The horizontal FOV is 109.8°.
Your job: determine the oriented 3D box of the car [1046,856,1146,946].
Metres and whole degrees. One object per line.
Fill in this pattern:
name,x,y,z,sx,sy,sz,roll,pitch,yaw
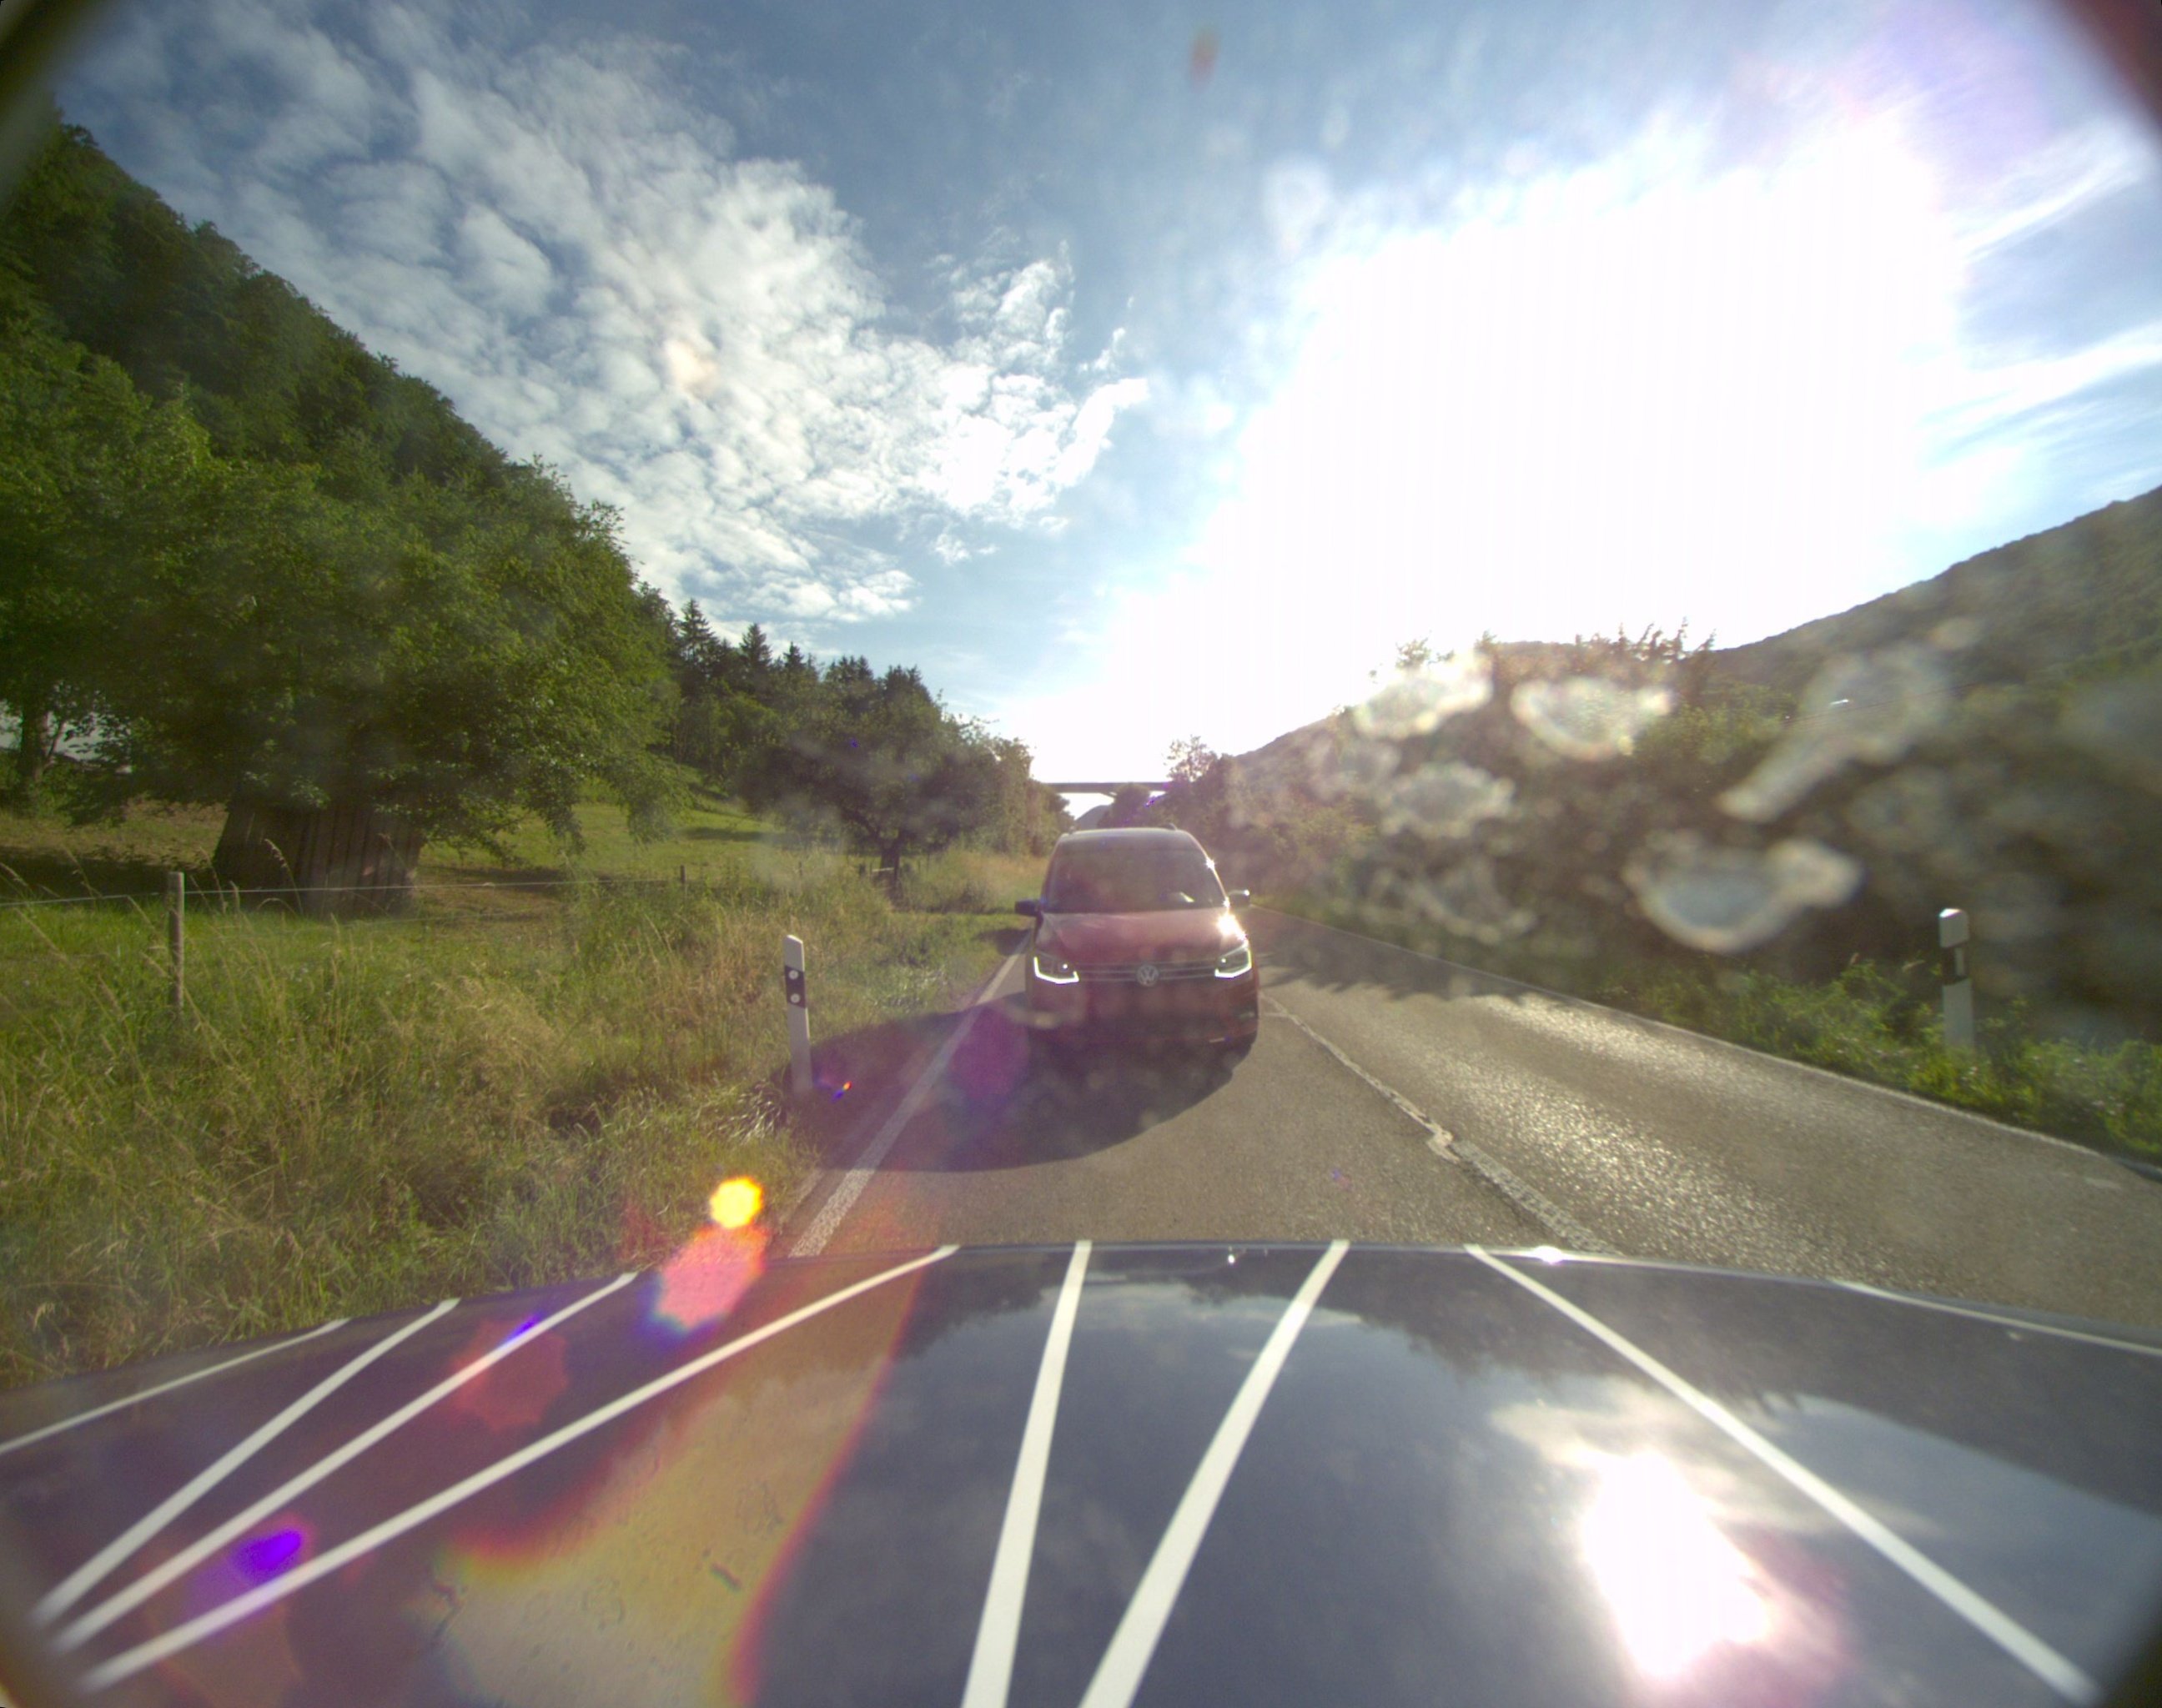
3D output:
car,0.306,0.866,16.165,1.753,1.513,4.288,-4,0,1

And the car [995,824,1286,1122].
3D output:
car,0.408,0.750,7.006,1.753,1.799,4.288,-4,0,1

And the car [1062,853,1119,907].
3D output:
car,0.329,0.832,26.459,1.753,1.608,4.288,-4,0,1

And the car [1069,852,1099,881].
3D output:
car,0.182,0.765,49.134,1.753,1.608,4.288,-4,0,1

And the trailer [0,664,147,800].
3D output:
trailer,-23.888,-2.739,15.926,2.158,2.542,5.248,1,-3,-3
